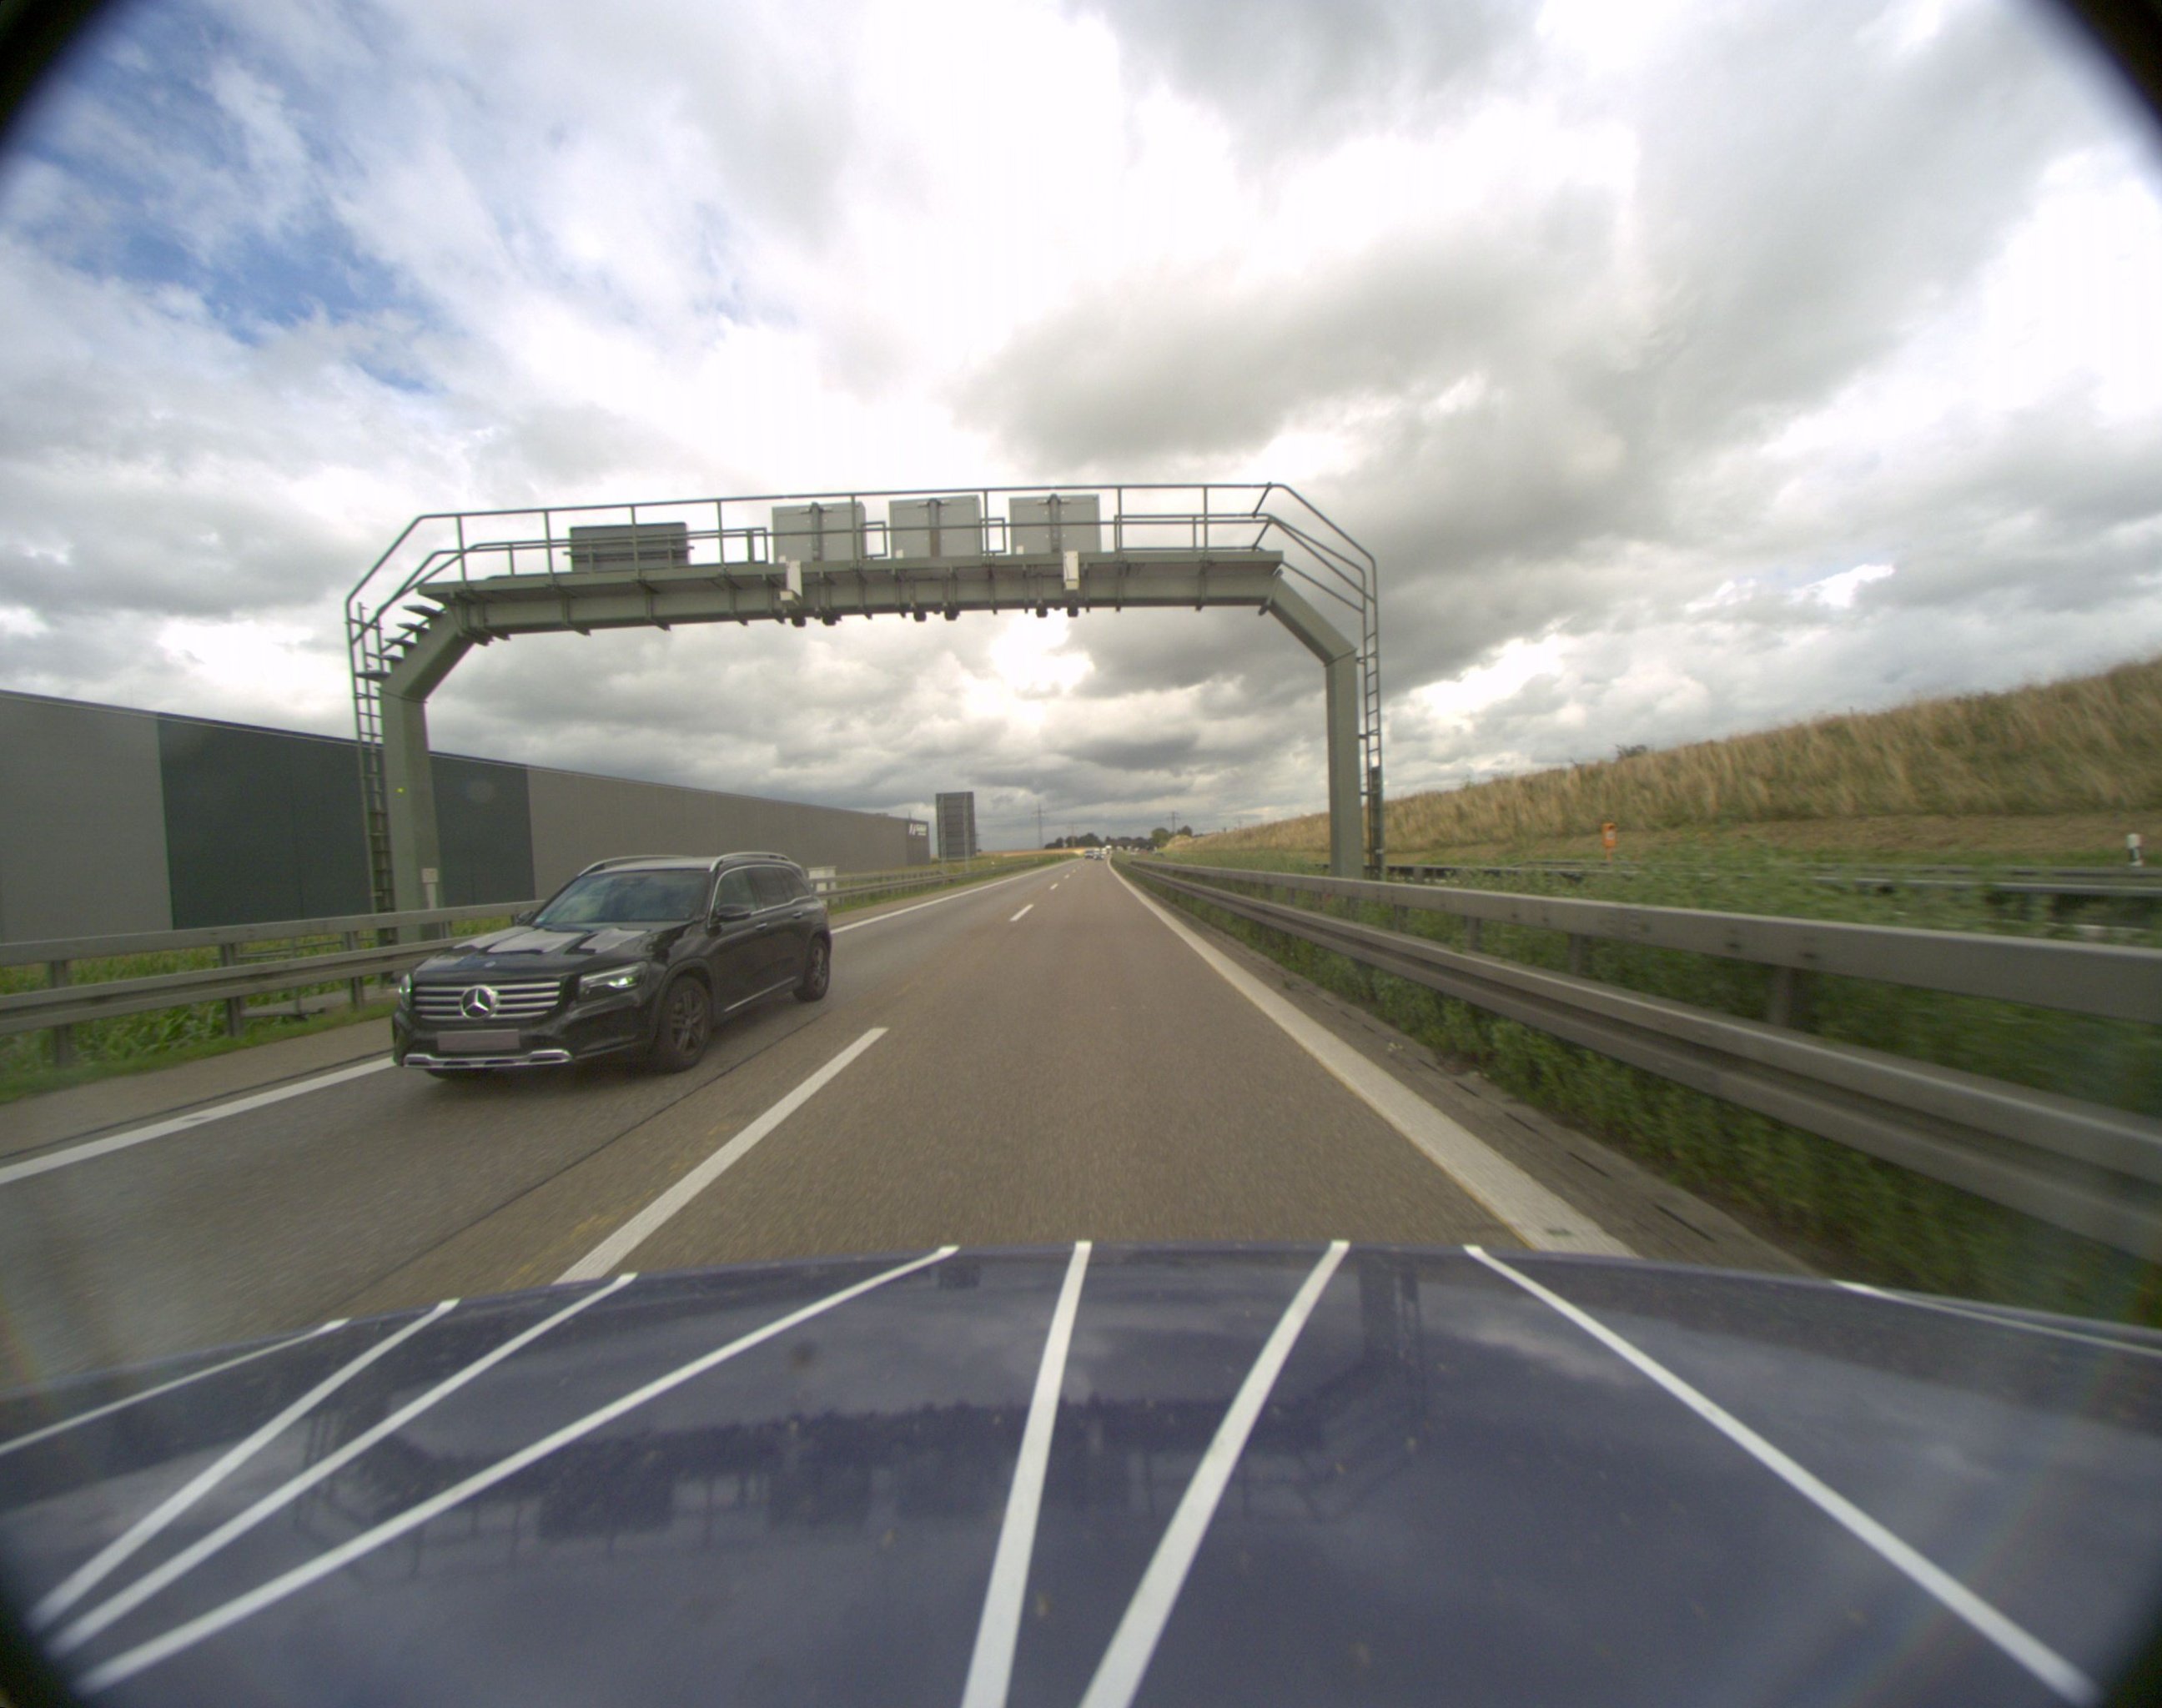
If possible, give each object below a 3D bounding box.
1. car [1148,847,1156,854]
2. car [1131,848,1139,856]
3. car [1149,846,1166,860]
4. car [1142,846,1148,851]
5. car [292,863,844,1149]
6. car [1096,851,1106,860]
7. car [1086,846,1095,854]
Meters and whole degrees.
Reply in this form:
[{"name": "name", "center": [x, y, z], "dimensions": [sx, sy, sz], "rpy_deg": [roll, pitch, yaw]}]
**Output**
[{"name": "car", "center": [17.769, -0.868, 189.286], "dimensions": [1.776, 1.445, 4.000], "rpy_deg": [-3, 1, 2]}, {"name": "car", "center": [15.588, -0.585, 220.564], "dimensions": [1.998, 2.334, 5.870], "rpy_deg": [-3, 1, 1]}, {"name": "car", "center": [9.784, -0.158, 97.106], "dimensions": [1.741, 1.581, 3.999], "rpy_deg": [-3, 1, 1]}, {"name": "car", "center": [21.109, -1.746, 250.774], "dimensions": [1.728, 1.395, 4.342], "rpy_deg": [-3, 1, 2]}, {"name": "car", "center": [-3.838, 0.971, 6.852], "dimensions": [1.838, 1.600, 4.360], "rpy_deg": [-2, 1, 2]}, {"name": "car", "center": [4.127, 0.251, 158.455], "dimensions": [1.998, 1.695, 4.662], "rpy_deg": [-4, -1, 1]}, {"name": "car", "center": [2.388, -1.041, 193.375], "dimensions": [1.998, 1.812, 4.343], "rpy_deg": [-2, 1, 4]}]
